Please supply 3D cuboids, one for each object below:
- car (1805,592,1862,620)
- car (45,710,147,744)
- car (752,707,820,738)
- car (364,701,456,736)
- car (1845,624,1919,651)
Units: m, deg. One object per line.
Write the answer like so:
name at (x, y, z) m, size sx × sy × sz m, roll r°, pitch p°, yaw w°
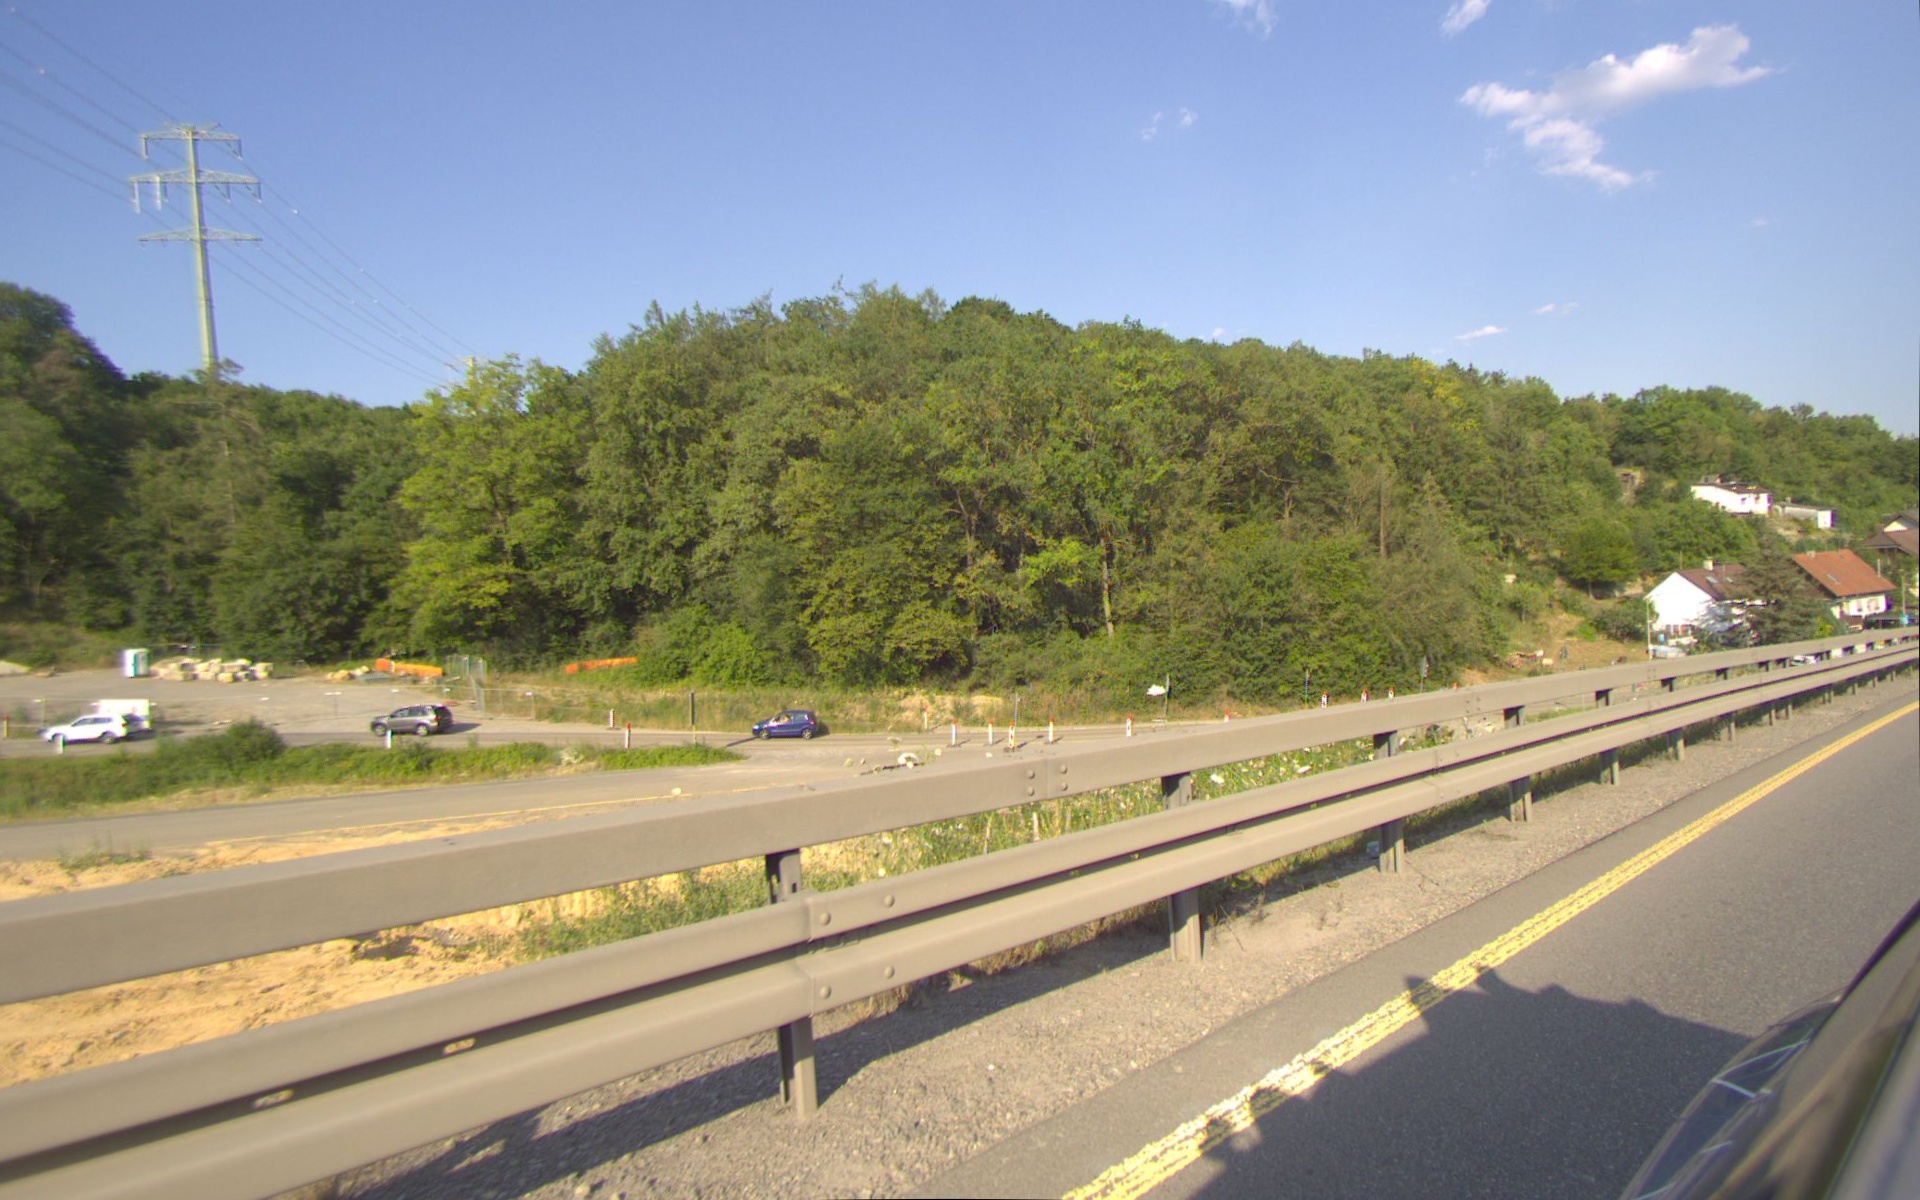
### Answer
car at (74.532, 0.492, 86.337) m, size 4.950 × 2.010 × 1.872 m, roll -3°, pitch 3°, yaw -26°
car at (-50.518, 7.404, 59.222) m, size 4.381 × 1.683 × 1.675 m, roll -1°, pitch -1°, yaw -6°
car at (-9.852, 6.933, 57.431) m, size 3.549 × 1.620 × 1.772 m, roll -1°, pitch -4°, yaw 1°
car at (-32.433, 6.979, 59.771) m, size 4.413 × 1.807 × 1.868 m, roll 0°, pitch 1°, yaw 1°
car at (89.246, 3.556, 97.611) m, size 1.959 × 2.292 × 5.492 m, roll -2°, pitch 1°, yaw -26°
